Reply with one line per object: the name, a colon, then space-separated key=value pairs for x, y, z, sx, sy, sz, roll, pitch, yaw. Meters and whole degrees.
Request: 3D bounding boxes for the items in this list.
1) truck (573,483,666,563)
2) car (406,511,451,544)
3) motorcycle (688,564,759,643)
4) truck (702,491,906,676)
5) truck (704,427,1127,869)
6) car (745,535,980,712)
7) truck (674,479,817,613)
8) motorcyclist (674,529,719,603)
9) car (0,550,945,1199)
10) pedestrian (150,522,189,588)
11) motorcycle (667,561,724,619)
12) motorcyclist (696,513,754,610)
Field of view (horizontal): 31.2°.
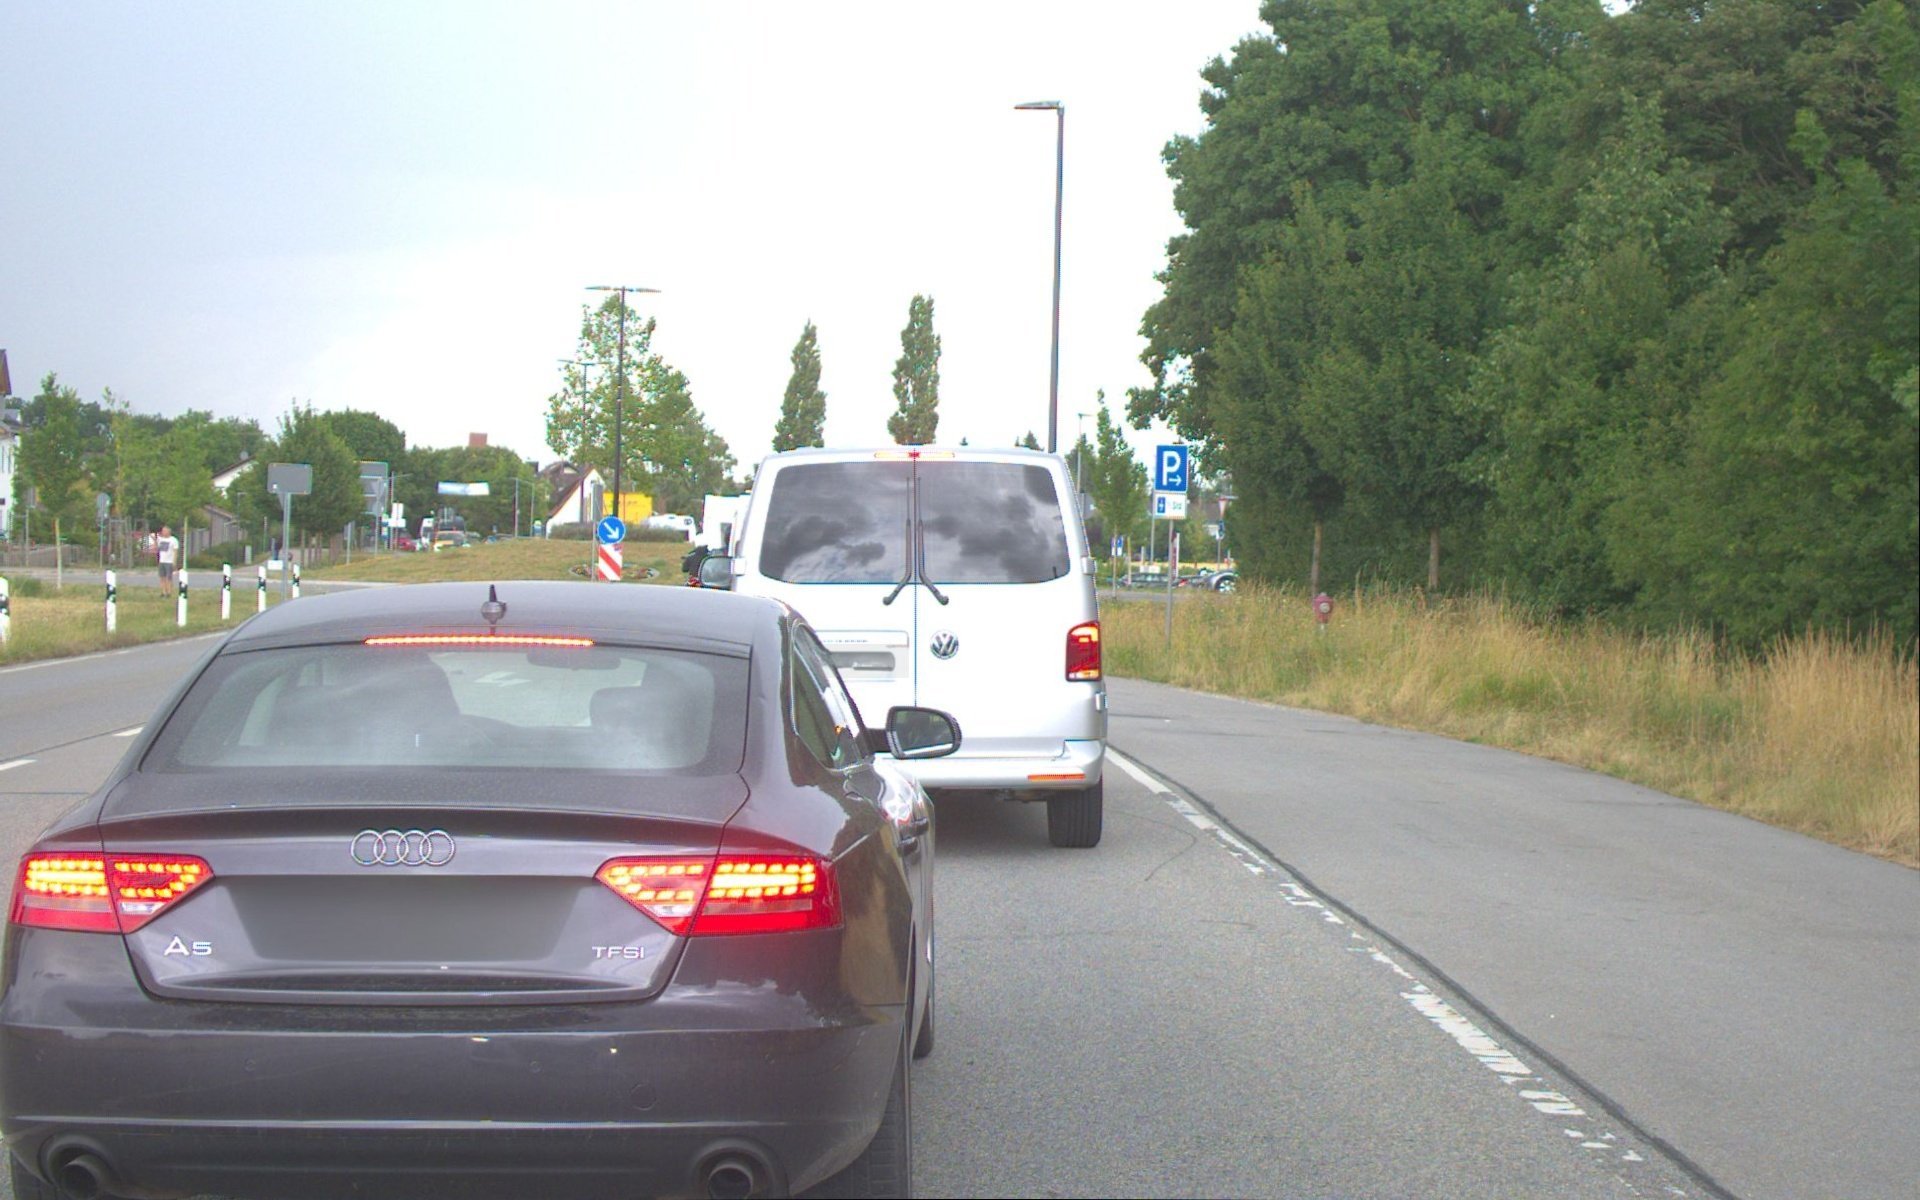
truck: x=-16.311 y=-3.682 z=164.030 sx=3.575 sy=3.566 sz=9.959 roll=2 pitch=1 yaw=-10
car: x=-27.713 y=-3.757 z=179.241 sx=1.993 sy=1.636 sz=4.001 roll=2 pitch=1 yaw=-5
motorcycle: x=-3.445 y=0.041 z=50.236 sx=0.920 sy=1.090 sz=2.189 roll=2 pitch=1 yaw=-2
truck: x=-1.773 y=-0.217 z=40.656 sx=2.193 sy=2.007 sz=5.085 roll=1 pitch=1 yaw=-1
truck: x=-0.233 y=0.180 z=18.142 sx=1.904 sy=1.991 sz=4.629 roll=1 pitch=1 yaw=-1
car: x=-0.893 y=0.175 z=31.635 sx=1.993 sy=1.480 sz=4.000 roll=1 pitch=1 yaw=-1
truck: x=-4.746 y=-1.191 z=75.050 sx=2.625 sy=2.728 sz=5.869 roll=2 pitch=1 yaw=-8
motorcyclist: x=-4.878 y=-0.628 z=63.644 sx=0.785 sy=1.352 sz=0.854 roll=1 pitch=1 yaw=-3
car: x=-0.998 y=0.625 z=8.128 sx=1.875 sy=1.449 sz=4.177 roll=1 pitch=1 yaw=0
pedestrian: x=-19.287 y=-1.103 z=83.852 sx=0.656 sy=1.580 sz=0.703 roll=1 pitch=1 yaw=-41
motorcycle: x=-4.893 y=-0.196 z=63.734 sx=0.944 sy=1.016 sz=2.284 roll=1 pitch=1 yaw=-2
motorcyclist: x=-3.431 y=-0.566 z=50.230 sx=0.772 sy=1.379 sz=0.820 roll=2 pitch=1 yaw=-2
